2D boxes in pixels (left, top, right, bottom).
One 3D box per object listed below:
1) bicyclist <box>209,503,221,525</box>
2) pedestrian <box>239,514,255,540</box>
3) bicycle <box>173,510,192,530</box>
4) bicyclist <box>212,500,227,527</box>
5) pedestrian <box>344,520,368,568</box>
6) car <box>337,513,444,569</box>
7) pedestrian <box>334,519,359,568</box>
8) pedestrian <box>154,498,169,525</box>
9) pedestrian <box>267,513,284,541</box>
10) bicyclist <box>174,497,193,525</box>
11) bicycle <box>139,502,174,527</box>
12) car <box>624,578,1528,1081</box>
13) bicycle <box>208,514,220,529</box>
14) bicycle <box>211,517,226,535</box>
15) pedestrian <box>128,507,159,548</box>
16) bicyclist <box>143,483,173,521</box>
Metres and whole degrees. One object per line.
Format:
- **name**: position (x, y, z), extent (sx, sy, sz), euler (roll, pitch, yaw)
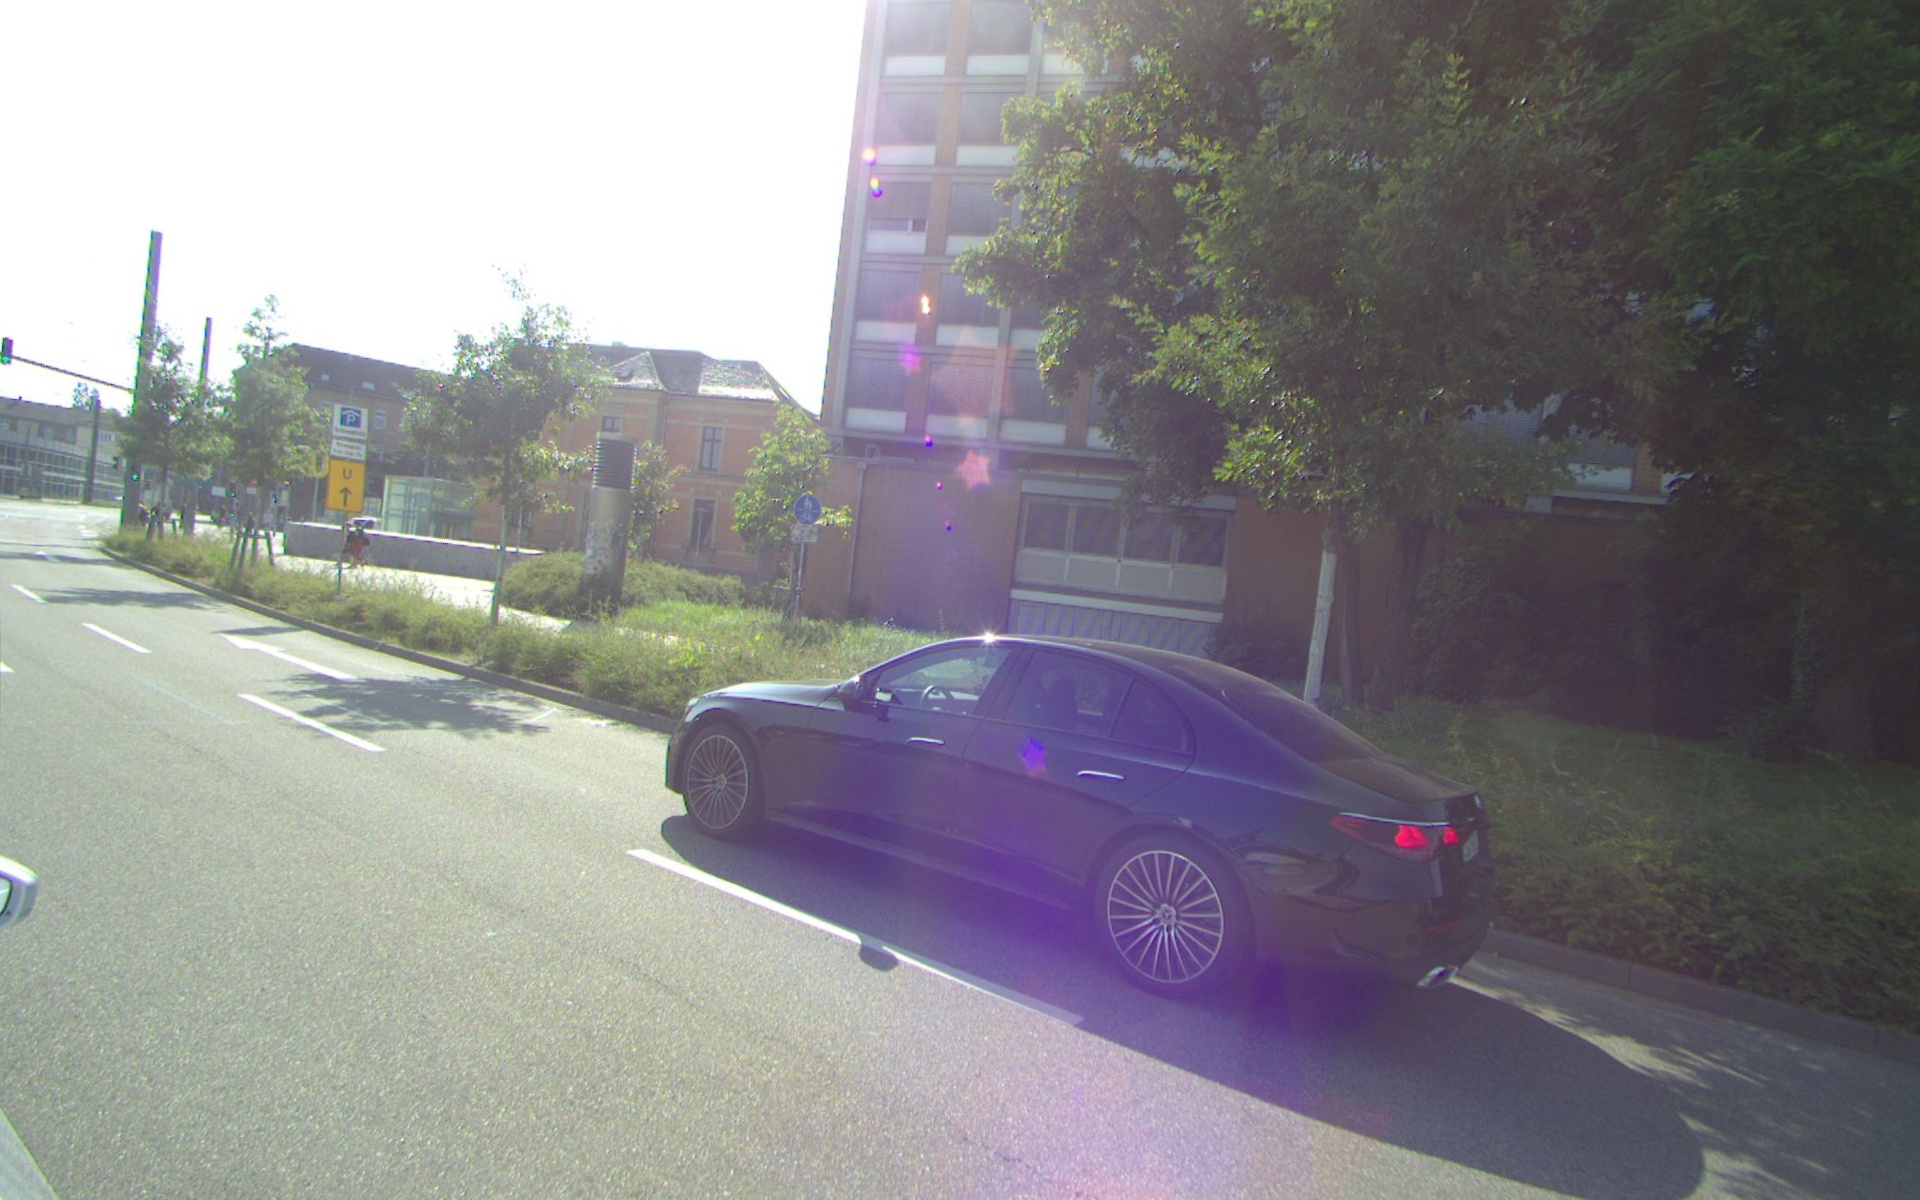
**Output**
- **bicyclist**: position (-66.894, -7.729, 90.314), extent (0.742, 1.853, 0.798), euler (6, 1, -36)
- **pedestrian**: position (-45.818, -4.695, 64.626), extent (0.742, 1.549, 0.798), euler (6, 1, -36)
- **bicycle**: position (-45.499, -4.679, 58.878), extent (0.702, 1.075, 1.963), euler (6, 1, -36)
- **bicyclist**: position (-52.914, -6.178, 71.901), extent (0.742, 1.808, 1.102), euler (6, 1, -36)
- **pedestrian**: position (-21.803, -2.023, 36.315), extent (0.609, 1.649, 0.530), euler (6, 1, -29)
- **car**: position (-26.785, -2.731, 47.468), extent (1.721, 2.039, 3.998), euler (10, 1, 21)
- **pedestrian**: position (-21.713, -1.990, 35.614), extent (0.609, 1.660, 0.530), euler (6, 1, -30)
- **pedestrian**: position (-63.468, -7.031, 79.926), extent (0.742, 2.039, 0.798), euler (6, 2, -36)
- **pedestrian**: position (-48.766, -5.184, 71.665), extent (0.799, 1.913, 0.741), euler (6, 1, -36)
- **bicyclist**: position (-45.422, -5.221, 58.848), extent (0.708, 1.549, 0.798), euler (6, 1, -36)
- **bicycle**: position (-36.981, -3.936, 46.310), extent (2.119, 0.988, 0.771), euler (7, 0, 40)
- **car**: position (0.367, 0.881, 5.802), extent (4.798, 1.457, 1.821), euler (7, -1, 36)
- **bicycle**: position (-66.980, -7.063, 90.361), extent (0.735, 1.233, 2.223), euler (6, 1, -36)
- **bicycle**: position (-53.025, -5.321, 71.918), extent (0.742, 1.163, 2.838), euler (6, 1, -36)
- **pedestrian**: position (-29.385, -2.616, 36.194), extent (0.624, 1.379, 0.635), euler (7, 1, 37)
- **bicyclist**: position (-36.926, -4.523, 46.305), extent (0.976, 1.598, 0.771), euler (7, 1, 39)
